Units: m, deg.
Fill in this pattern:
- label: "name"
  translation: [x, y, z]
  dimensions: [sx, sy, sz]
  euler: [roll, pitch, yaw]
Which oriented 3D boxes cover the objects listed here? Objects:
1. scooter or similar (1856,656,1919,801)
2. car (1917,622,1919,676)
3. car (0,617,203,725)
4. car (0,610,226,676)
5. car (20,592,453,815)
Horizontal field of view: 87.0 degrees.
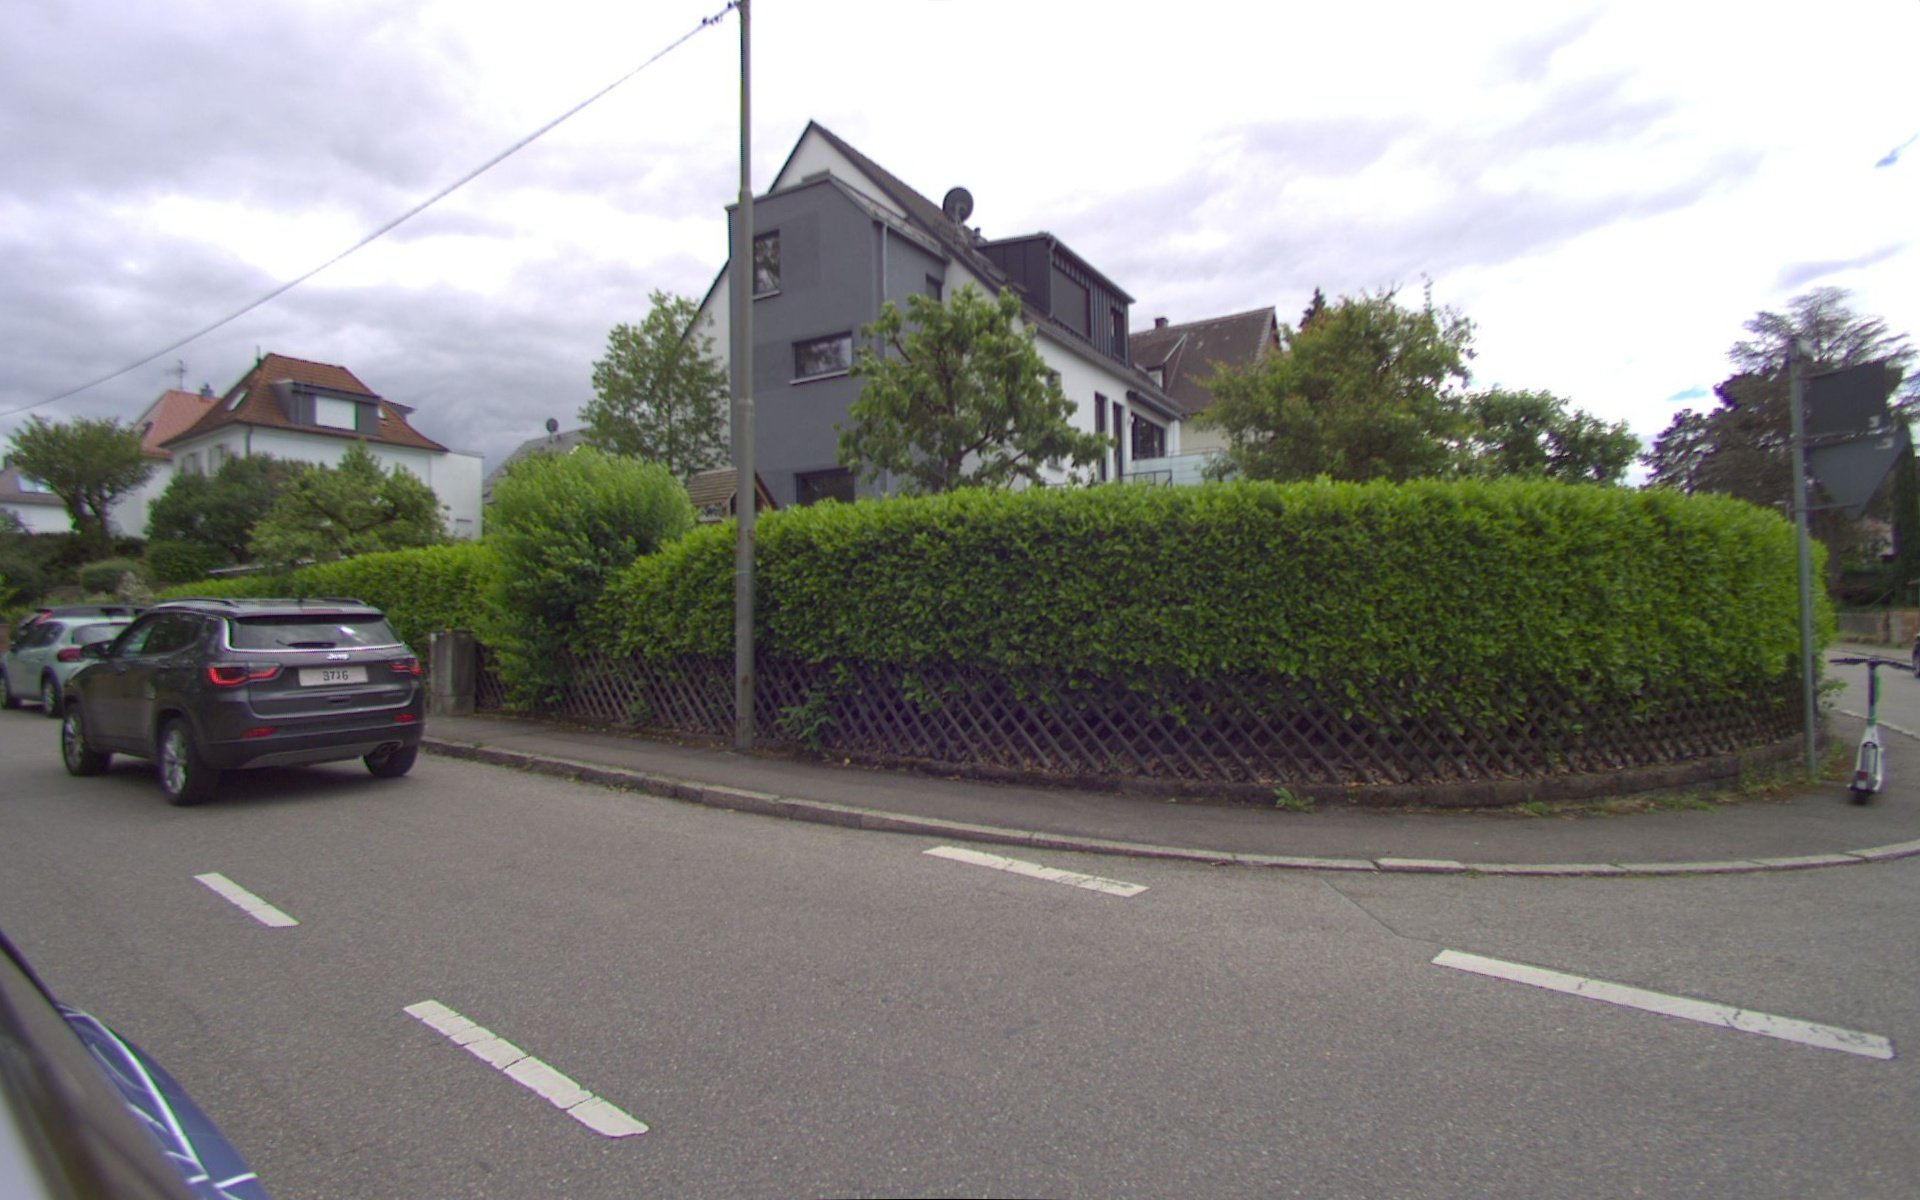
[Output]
- label: "scooter or similar"
  translation: [7.716, 1.039, 8.410]
  dimensions: [0.713, 1.127, 0.305]
  euler: [1, -2, -42]
- label: "car"
  translation: [21.873, 1.087, 21.180]
  dimensions: [1.682, 1.236, 3.960]
  euler: [-1, -1, 29]
- label: "car"
  translation: [-14.047, 1.042, 16.254]
  dimensions: [4.003, 1.511, 1.769]
  euler: [-1, 0, 33]
- label: "car"
  translation: [-23.940, 1.170, 28.784]
  dimensions: [1.992, 1.710, 4.583]
  euler: [-1, -1, 30]
- label: "car"
  translation: [-6.714, 0.805, 9.259]
  dimensions: [4.311, 1.609, 1.819]
  euler: [-2, -1, 34]
